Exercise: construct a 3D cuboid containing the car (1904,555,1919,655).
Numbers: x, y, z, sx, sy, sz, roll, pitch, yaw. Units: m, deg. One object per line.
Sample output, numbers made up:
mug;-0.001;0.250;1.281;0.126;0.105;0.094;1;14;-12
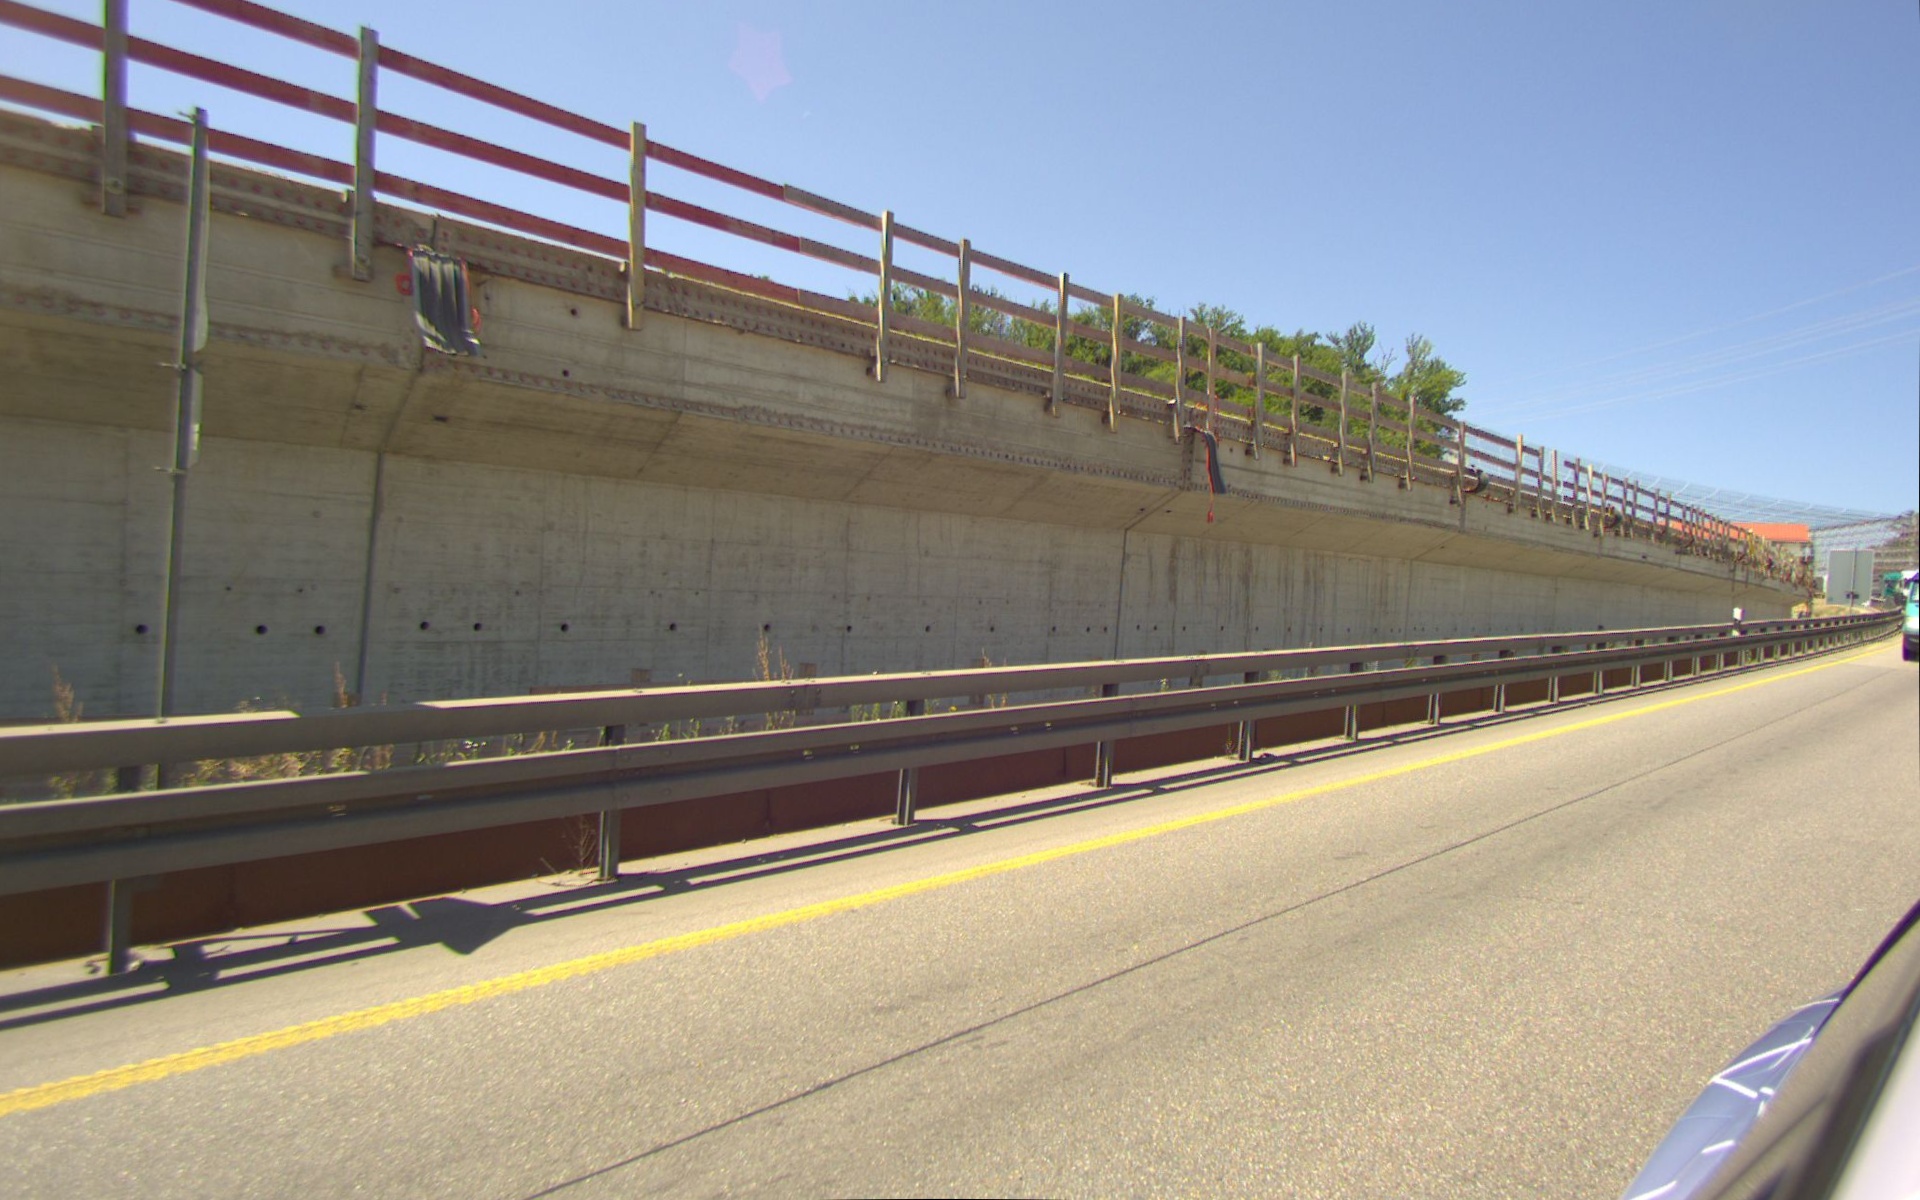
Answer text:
car;25.674;0.103;25.684;6.789;2.355;2.213;-1;2;-45
